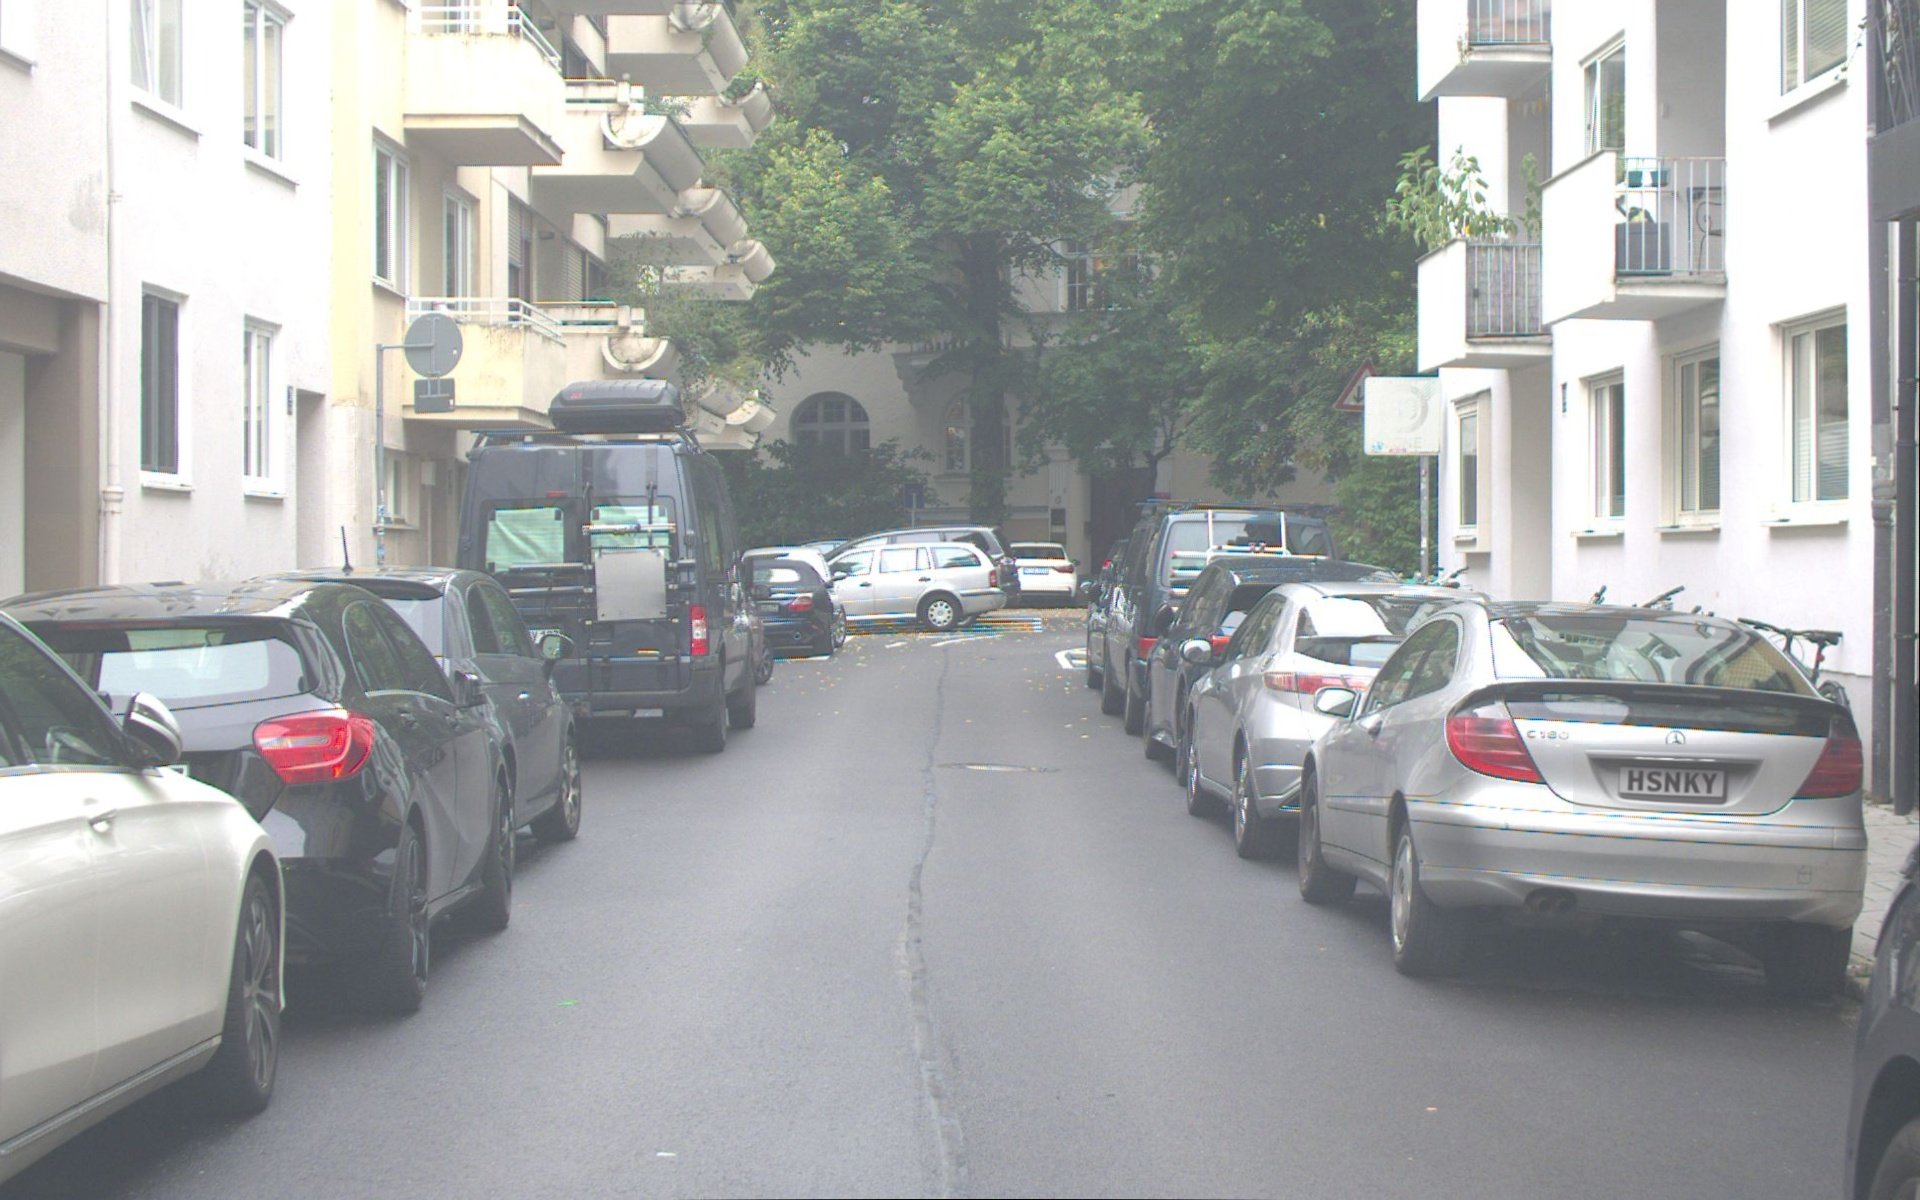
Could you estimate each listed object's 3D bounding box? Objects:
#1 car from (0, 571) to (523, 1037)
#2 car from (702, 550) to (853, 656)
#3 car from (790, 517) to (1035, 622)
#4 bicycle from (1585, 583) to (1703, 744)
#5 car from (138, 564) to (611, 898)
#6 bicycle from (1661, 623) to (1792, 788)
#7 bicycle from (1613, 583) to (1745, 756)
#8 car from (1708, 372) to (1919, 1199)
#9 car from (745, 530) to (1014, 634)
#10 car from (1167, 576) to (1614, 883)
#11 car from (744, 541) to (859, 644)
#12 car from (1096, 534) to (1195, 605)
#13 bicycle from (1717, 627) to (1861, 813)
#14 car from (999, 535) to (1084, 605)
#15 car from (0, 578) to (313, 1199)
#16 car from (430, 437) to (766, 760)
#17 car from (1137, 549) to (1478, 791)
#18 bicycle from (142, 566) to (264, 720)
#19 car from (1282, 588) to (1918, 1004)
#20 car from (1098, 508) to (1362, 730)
[{"bbox_3d":[-2.705,0.610,12.679,1.800,1.412,4.227,0,1,-2],"label":"car"},{"bbox_3d":[-2.427,0.001,46.605,1.797,1.273,4.617,-2,1,0],"label":"car"},{"bbox_3d":[-0.861,-0.560,60.963,4.219,1.678,1.903,-2,1,-2],"label":"car"},{"bbox_3d":[5.107,0.459,25.736,0.570,1.147,1.431,0,1,-1],"label":"bicycle"},{"bbox_3d":[-2.837,0.574,17.404,1.611,1.441,3.743,-2,1,1],"label":"car"},{"bbox_3d":[5.003,0.674,22.511,0.477,0.999,1.552,1,1,-1],"label":"bicycle"},{"bbox_3d":[5.051,0.471,24.235,0.570,1.147,1.563,0,1,-1],"label":"bicycle"},{"bbox_3d":[2.421,0.621,3.777,1.982,1.833,5.184,2,1,-1],"label":"car"},{"bbox_3d":[-1.286,-0.305,55.717,4.227,1.450,1.721,-3,1,0],"label":"car"},{"bbox_3d":[2.282,0.633,19.302,1.759,1.426,4.262,3,1,-2],"label":"car"},{"bbox_3d":[-2.327,-0.142,51.286,1.560,1.416,3.834,-2,1,-1],"label":"car"},{"bbox_3d":[3.917,-0.665,72.099,1.792,1.426,3.999,1,1,7],"label":"car"},{"bbox_3d":[5.032,0.712,20.932,0.477,1.044,1.522,0,1,-1],"label":"bicycle"},{"bbox_3d":[1.763,-0.658,72.931,1.718,1.426,4.000,1,1,2],"label":"car"},{"bbox_3d":[-2.791,0.685,7.478,1.912,1.432,4.809,0,1,-1],"label":"car"},{"bbox_3d":[-2.765,-0.042,27.503,2.018,2.271,5.391,-2,1,0],"label":"car"},{"bbox_3d":[2.350,0.422,24.385,1.905,1.548,4.625,0,1,-1],"label":"car"},{"bbox_3d":[-5.662,0.300,25.792,0.463,1.094,1.870,1,1,1],"label":"bicycle"},{"bbox_3d":[2.458,0.683,14.234,1.734,1.424,4.203,0,1,-2],"label":"car"},{"bbox_3d":[2.266,0.124,30.027,1.874,1.785,4.782,0,1,-1],"label":"car"}]
